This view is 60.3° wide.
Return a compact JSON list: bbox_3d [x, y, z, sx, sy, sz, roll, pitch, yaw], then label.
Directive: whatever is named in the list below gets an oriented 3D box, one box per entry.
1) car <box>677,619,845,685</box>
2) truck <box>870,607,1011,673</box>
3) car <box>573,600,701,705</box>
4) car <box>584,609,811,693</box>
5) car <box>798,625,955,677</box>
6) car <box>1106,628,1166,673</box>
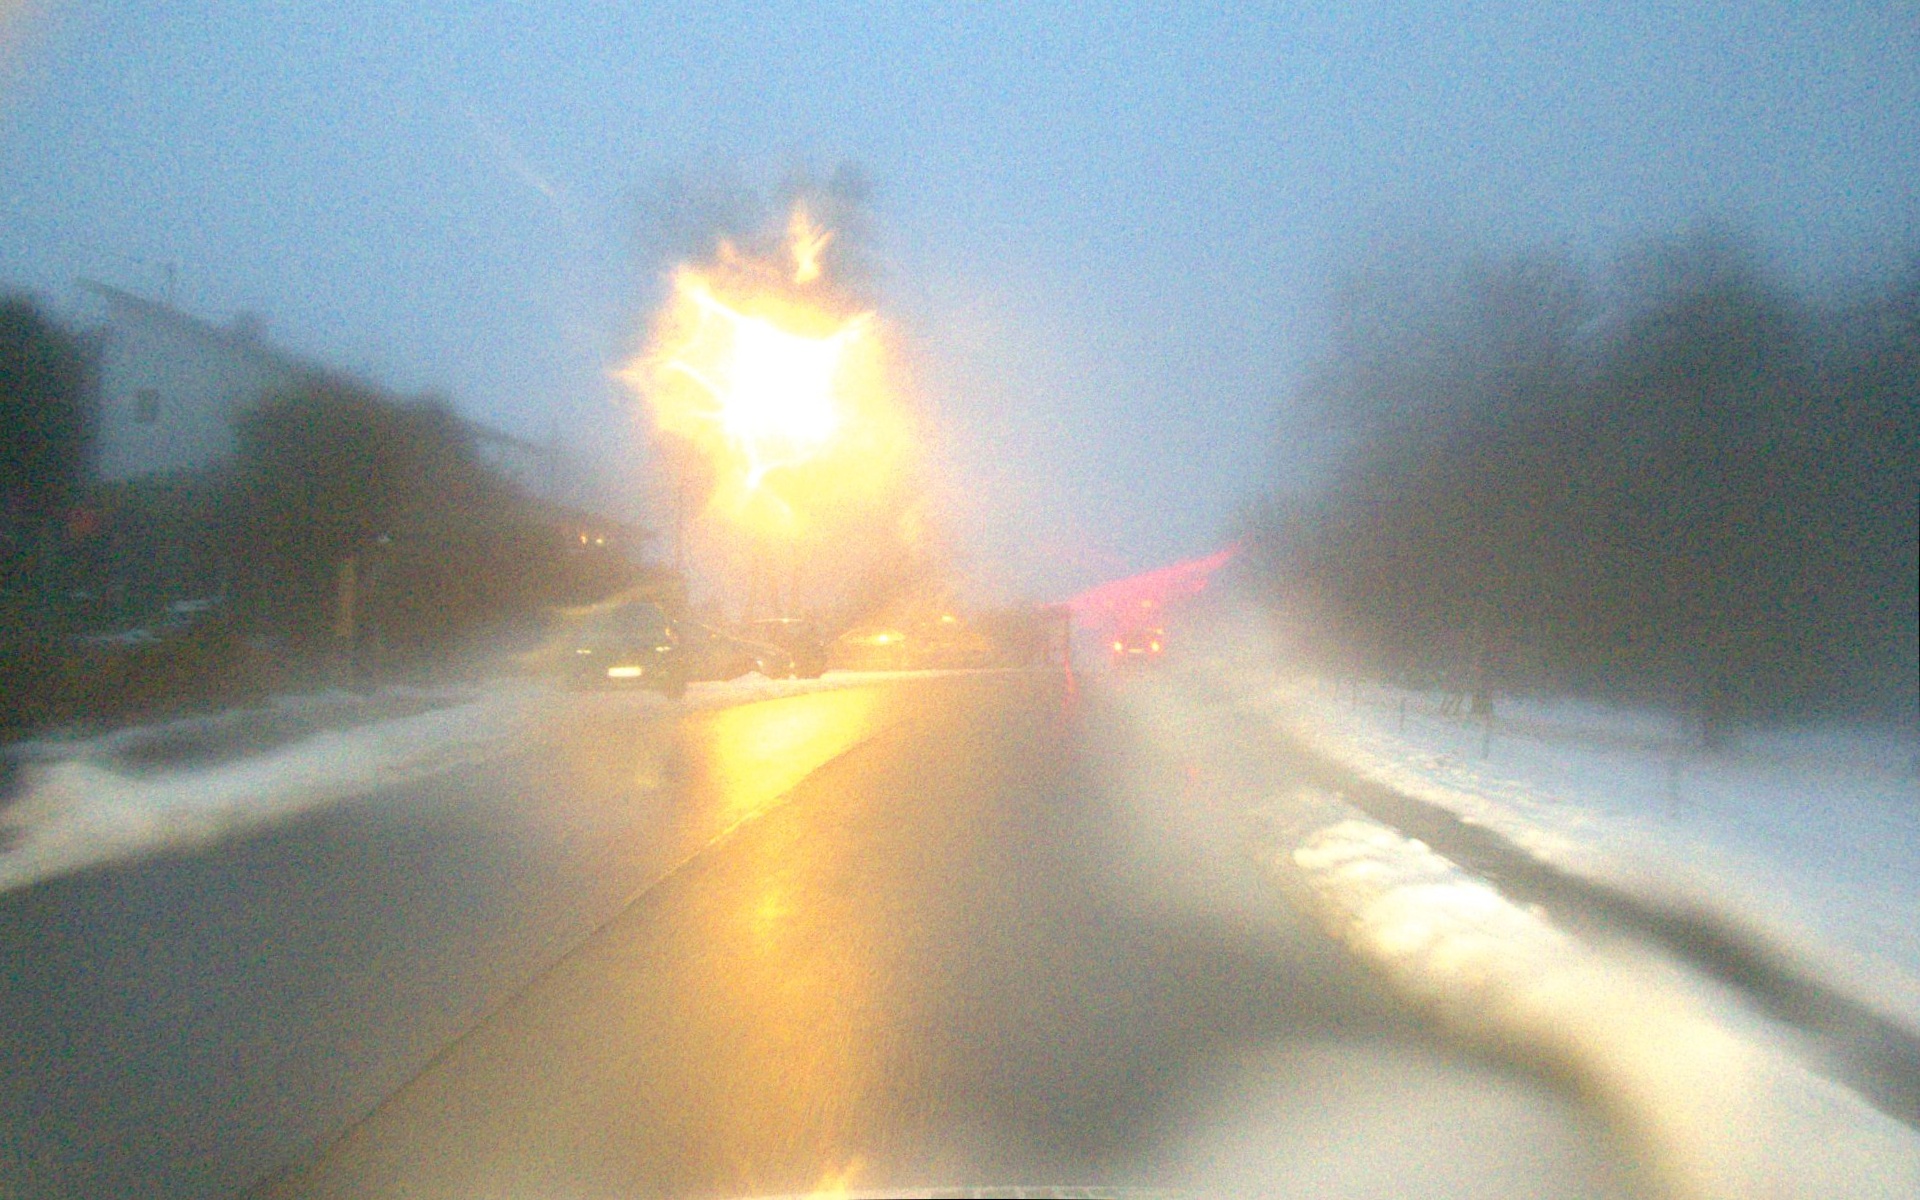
[{"bbox_3d":[-4.837,1.266,40.537,3.774,1.497,1.939,-2,-2,3],"label":"car"},{"bbox_3d":[-0.729,1.547,63.360,5.150,2.343,2.001,-2,-2,6],"label":"truck"},{"bbox_3d":[-5.637,0.928,28.968,1.958,1.594,4.983,-2,-2,-11],"label":"car"},{"bbox_3d":[-5.433,1.068,34.742,4.436,1.594,2.110,-1,-2,-2],"label":"car"},{"bbox_3d":[-2.677,1.657,53.719,4.783,1.511,2.125,-2,-2,6],"label":"car"},{"bbox_3d":[6.180,1.767,57.619,1.951,1.445,4.002,1,-2,8],"label":"car"}]
